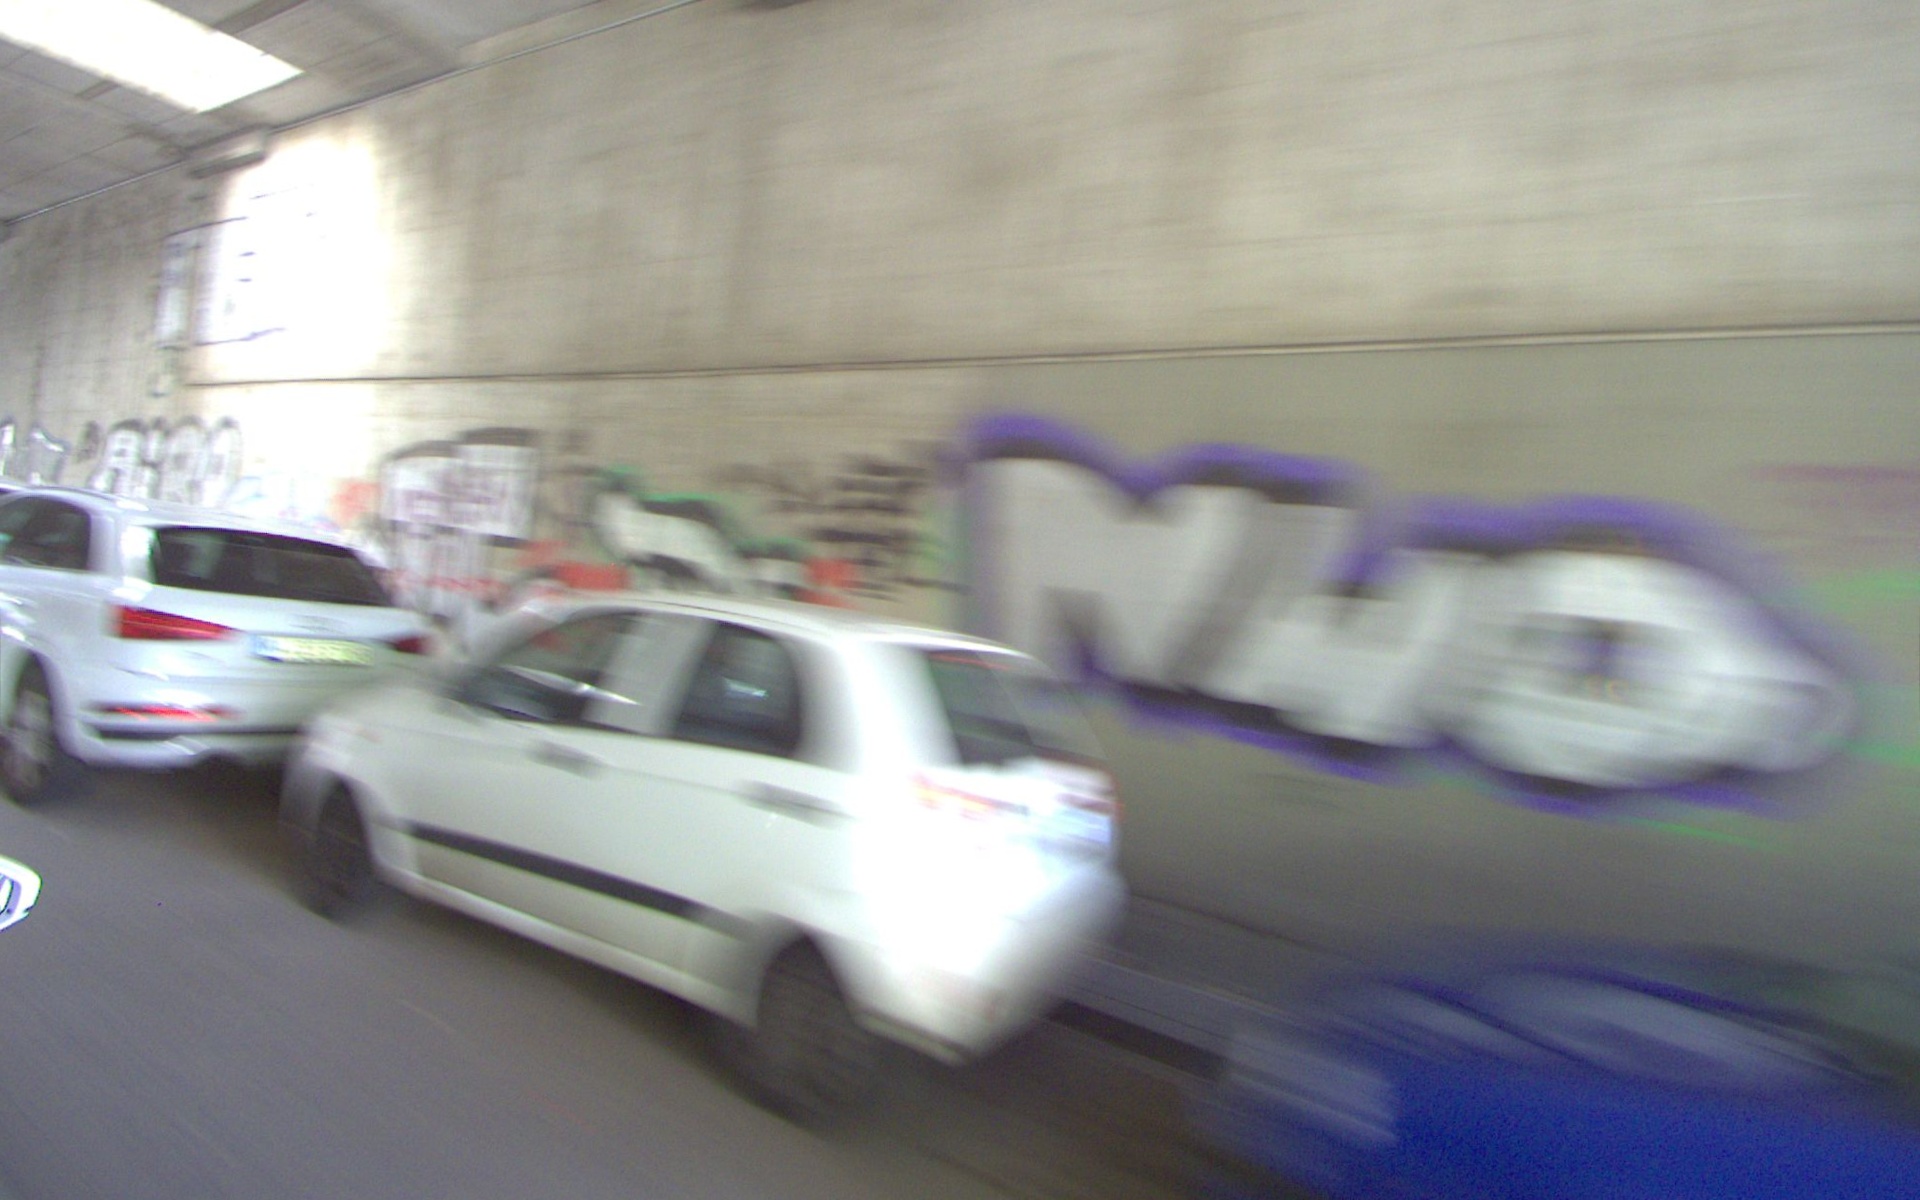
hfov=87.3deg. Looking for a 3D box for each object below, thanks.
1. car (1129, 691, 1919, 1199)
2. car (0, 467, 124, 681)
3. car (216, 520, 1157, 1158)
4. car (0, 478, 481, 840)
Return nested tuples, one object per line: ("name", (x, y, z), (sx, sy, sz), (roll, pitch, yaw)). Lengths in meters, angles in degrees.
("car", (2.505, 1.141, 1.690), (3.996, 1.428, 1.763), (6, 0, 32))
("car", (-9.526, -0.455, 8.948), (4.298, 1.686, 1.855), (7, 0, 32))
("car", (-1.214, 0.625, 4.229), (3.575, 1.506, 1.606), (6, 0, 28))
("car", (-5.106, 0.155, 6.218), (4.085, 1.565, 1.733), (6, 0, 29))
